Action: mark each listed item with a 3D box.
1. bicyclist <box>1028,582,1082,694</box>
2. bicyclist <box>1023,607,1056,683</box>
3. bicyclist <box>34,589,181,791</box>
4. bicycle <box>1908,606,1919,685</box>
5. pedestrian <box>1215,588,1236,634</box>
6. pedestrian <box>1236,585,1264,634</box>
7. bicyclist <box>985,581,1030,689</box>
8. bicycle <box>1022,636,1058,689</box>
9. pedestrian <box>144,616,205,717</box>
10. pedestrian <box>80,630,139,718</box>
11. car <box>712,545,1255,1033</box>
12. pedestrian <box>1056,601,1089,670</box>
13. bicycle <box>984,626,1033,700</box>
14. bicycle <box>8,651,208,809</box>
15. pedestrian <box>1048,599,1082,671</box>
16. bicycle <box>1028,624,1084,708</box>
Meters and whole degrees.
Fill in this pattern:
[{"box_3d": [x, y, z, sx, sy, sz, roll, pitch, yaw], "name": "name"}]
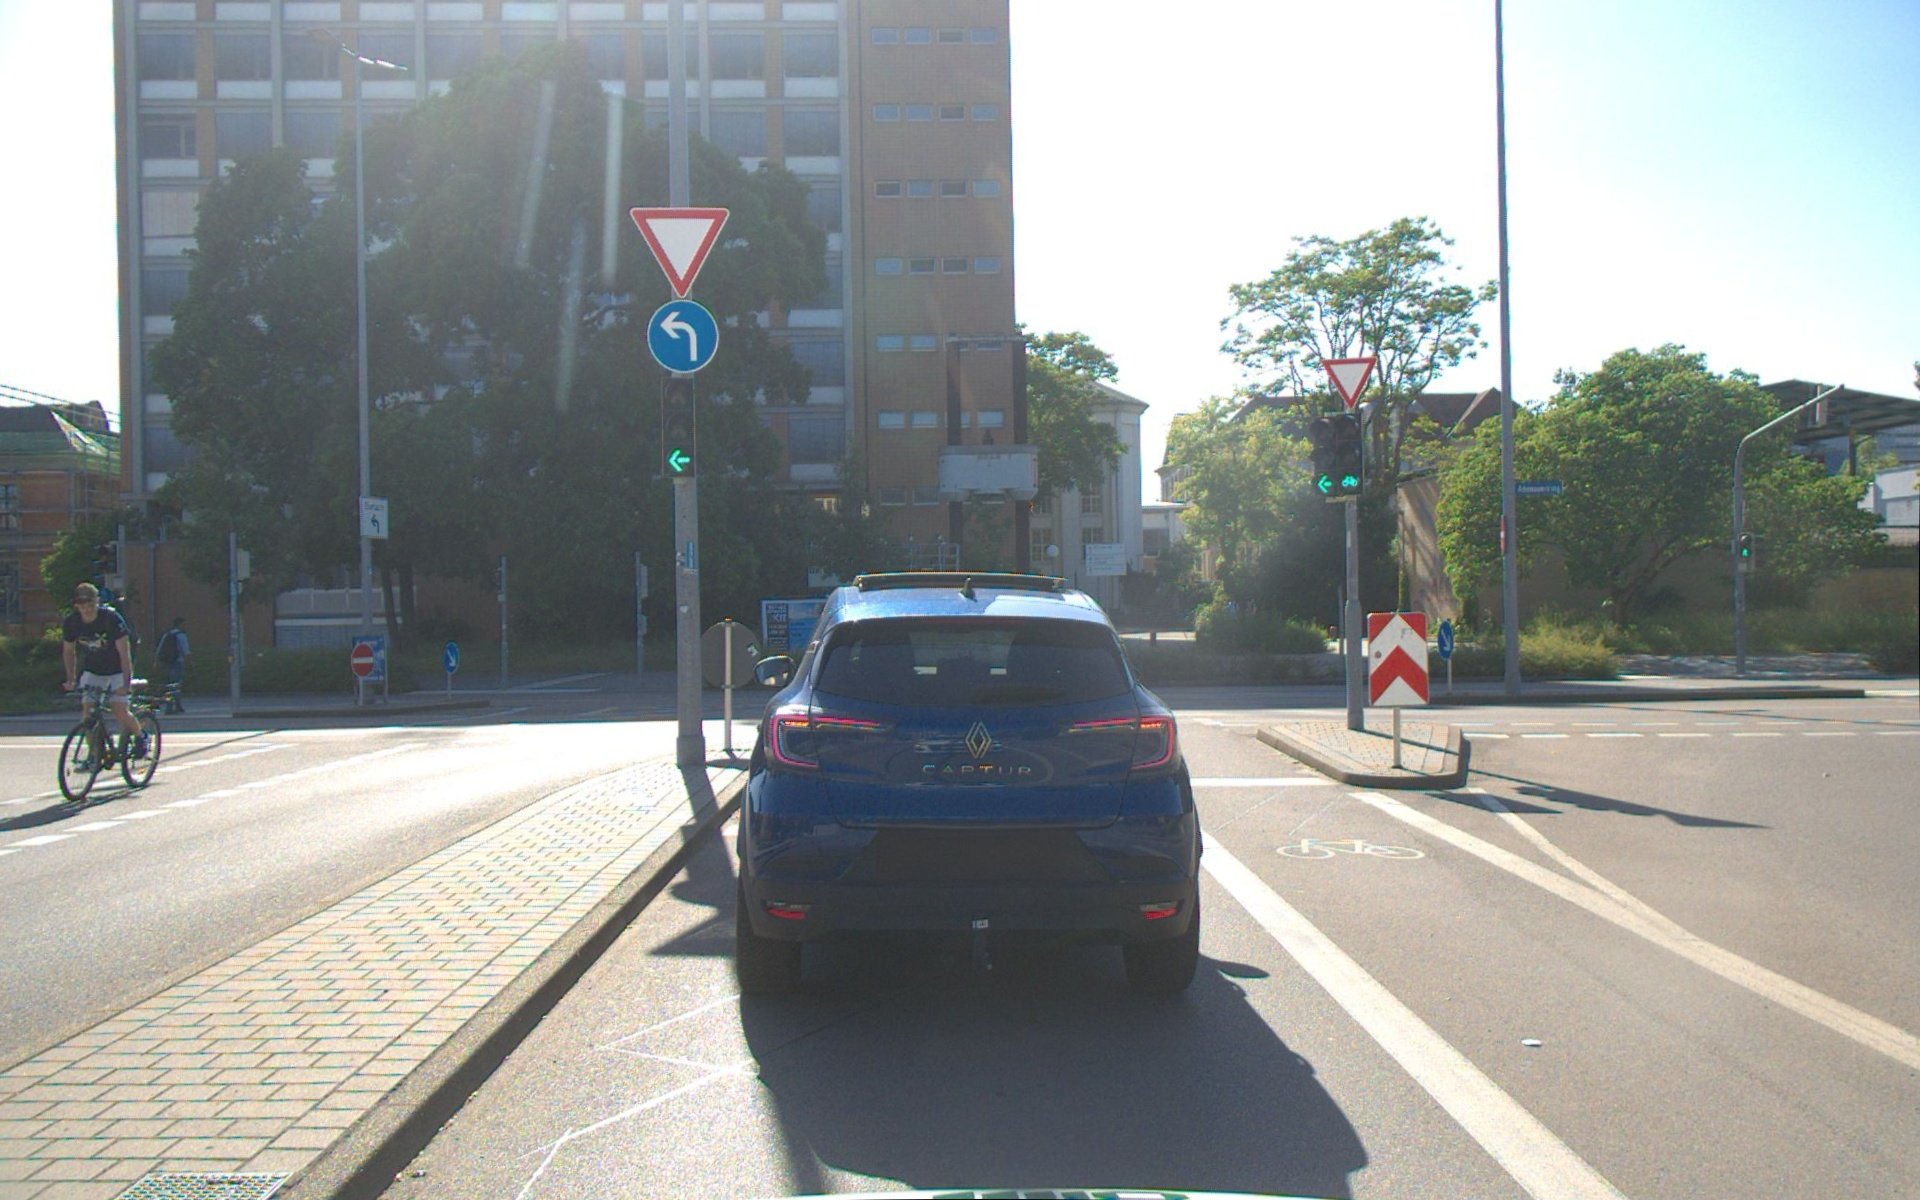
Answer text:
[{"box_3d": [1.427, 0.564, 24.946, 0.705, 1.645, 0.977, -1, 0, -1], "name": "bicyclist"}, {"box_3d": [1.888, 1.057, 39.506, 0.705, 1.765, 0.977, -1, 0, -1], "name": "bicyclist"}, {"box_3d": [-7.306, 0.750, 14.216, 0.705, 1.649, 0.977, -2, 0, -1], "name": "bicyclist"}, {"box_3d": [14.755, 0.699, 24.411, 0.627, 1.185, 1.872, -2, 1, 7], "name": "bicycle"}, {"box_3d": [9.574, 0.399, 59.641, 0.661, 1.672, 0.736, 0, -1, 13], "name": "pedestrian"}, {"box_3d": [9.860, 0.324, 56.209, 0.665, 1.672, 0.732, 0, -1, 41], "name": "pedestrian"}, {"box_3d": [0.800, 0.581, 28.130, 0.705, 1.793, 0.977, -1, 0, -1], "name": "bicyclist"}, {"box_3d": [1.894, 1.482, 39.486, 0.731, 1.185, 1.870, -1, 0, -1], "name": "bicycle"}, {"box_3d": [-14.845, 1.249, 31.283, 0.740, 1.865, 1.093, -1, -2, -9], "name": "pedestrian"}, {"box_3d": [-16.106, 1.396, 31.323, 0.702, 1.640, 0.682, -2, -1, 22], "name": "pedestrian"}, {"box_3d": [0.058, 0.655, 7.588, 1.838, 1.646, 3.797, 1, 0, -1], "name": "car"}, {"box_3d": [3.006, 0.952, 44.294, 0.718, 1.813, 0.732, 1, -1, 16], "name": "pedestrian"}, {"box_3d": [0.810, 1.047, 28.103, 0.731, 1.185, 1.870, -1, 0, -1], "name": "bicycle"}, {"box_3d": [-7.295, 1.075, 14.274, 0.731, 1.185, 1.870, -2, 0, -1], "name": "bicycle"}, {"box_3d": [2.752, 0.911, 43.316, 0.718, 1.848, 0.732, 1, -1, 16], "name": "pedestrian"}, {"box_3d": [1.431, 0.970, 24.924, 0.701, 1.185, 1.870, -1, 0, -1], "name": "bicycle"}]
